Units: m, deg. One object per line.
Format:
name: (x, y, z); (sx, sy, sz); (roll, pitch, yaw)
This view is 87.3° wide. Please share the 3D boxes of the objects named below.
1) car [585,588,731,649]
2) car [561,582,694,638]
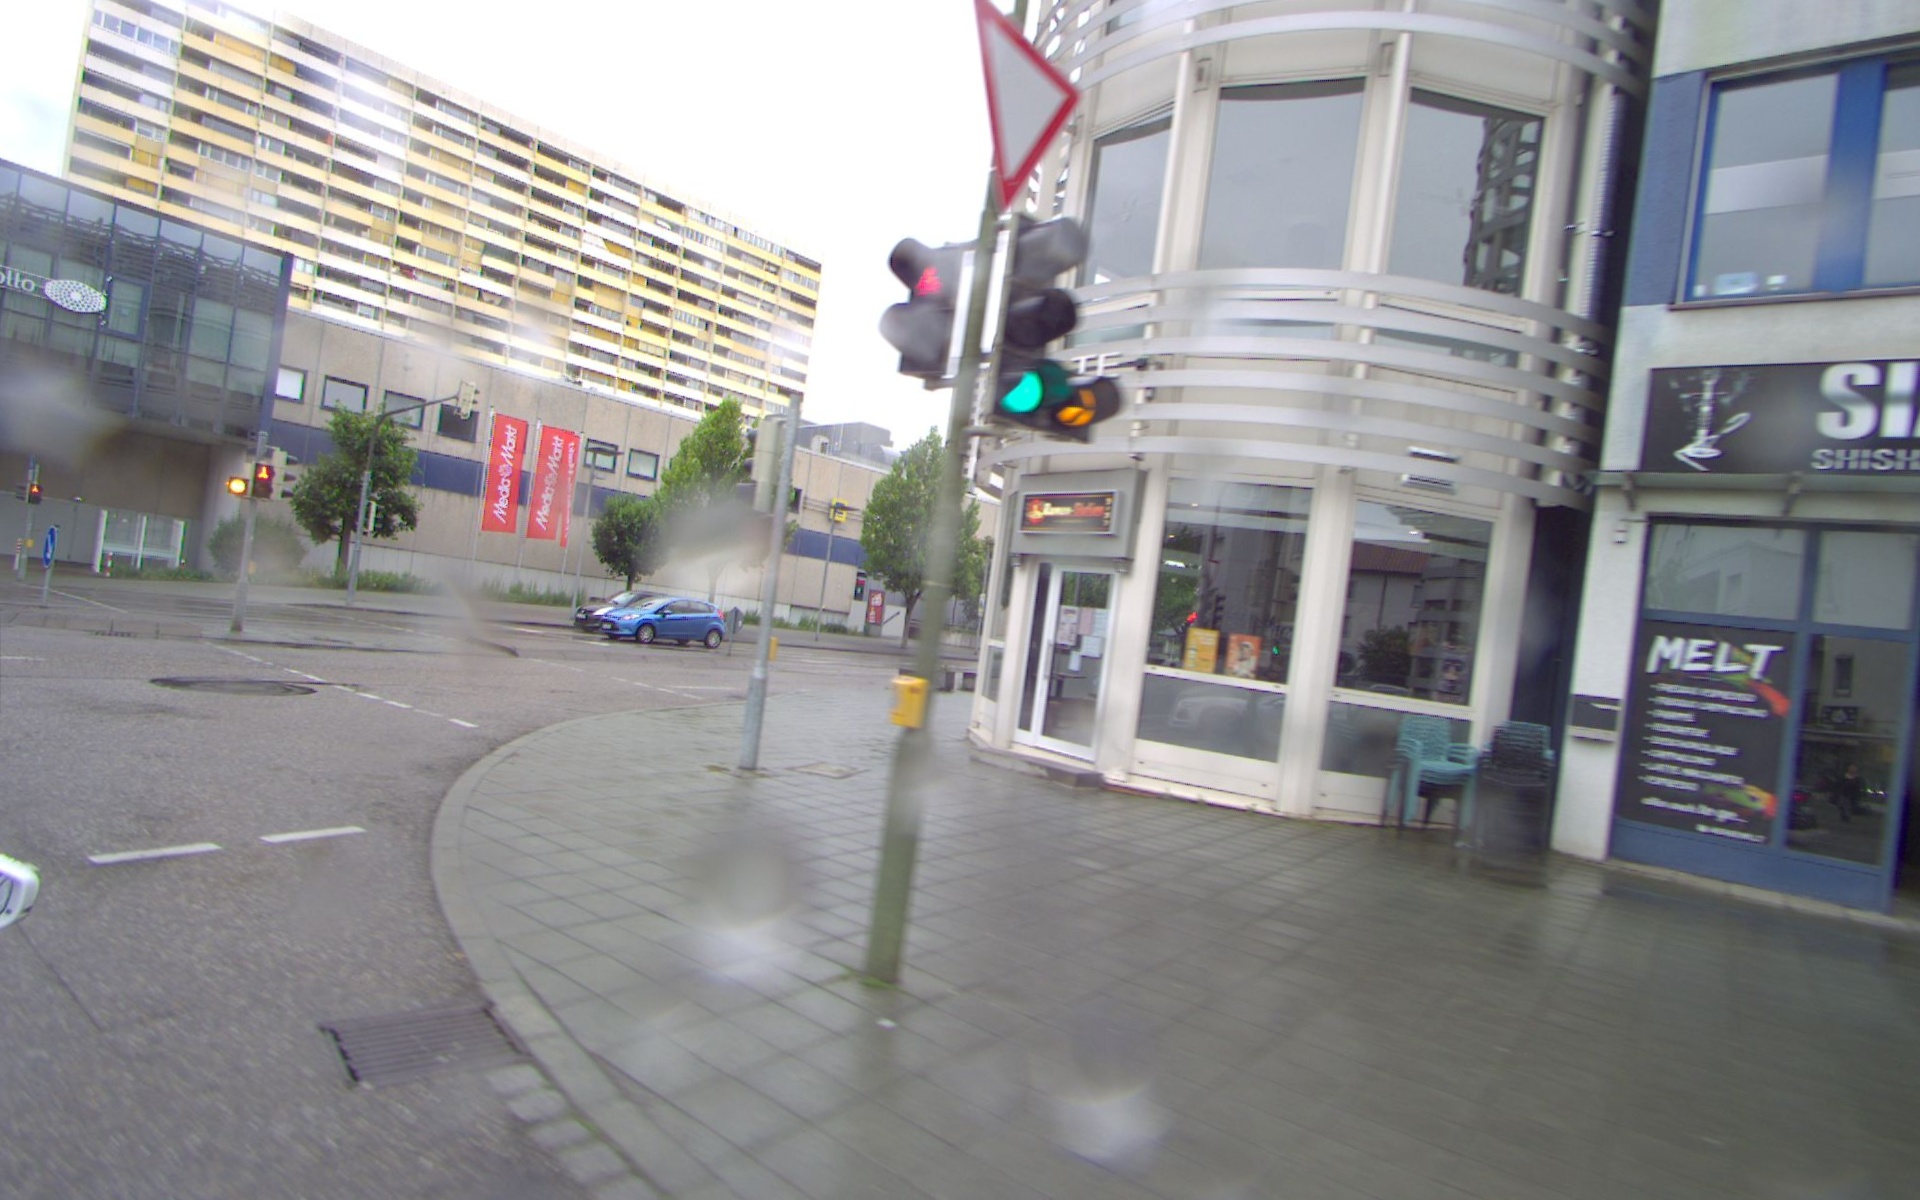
car: (-8.954, 0.578, 30.041); (1.654, 1.414, 3.842); (6, -1, 37)
car: (-10.735, 0.359, 32.641); (1.719, 1.411, 3.682); (6, -1, 39)
